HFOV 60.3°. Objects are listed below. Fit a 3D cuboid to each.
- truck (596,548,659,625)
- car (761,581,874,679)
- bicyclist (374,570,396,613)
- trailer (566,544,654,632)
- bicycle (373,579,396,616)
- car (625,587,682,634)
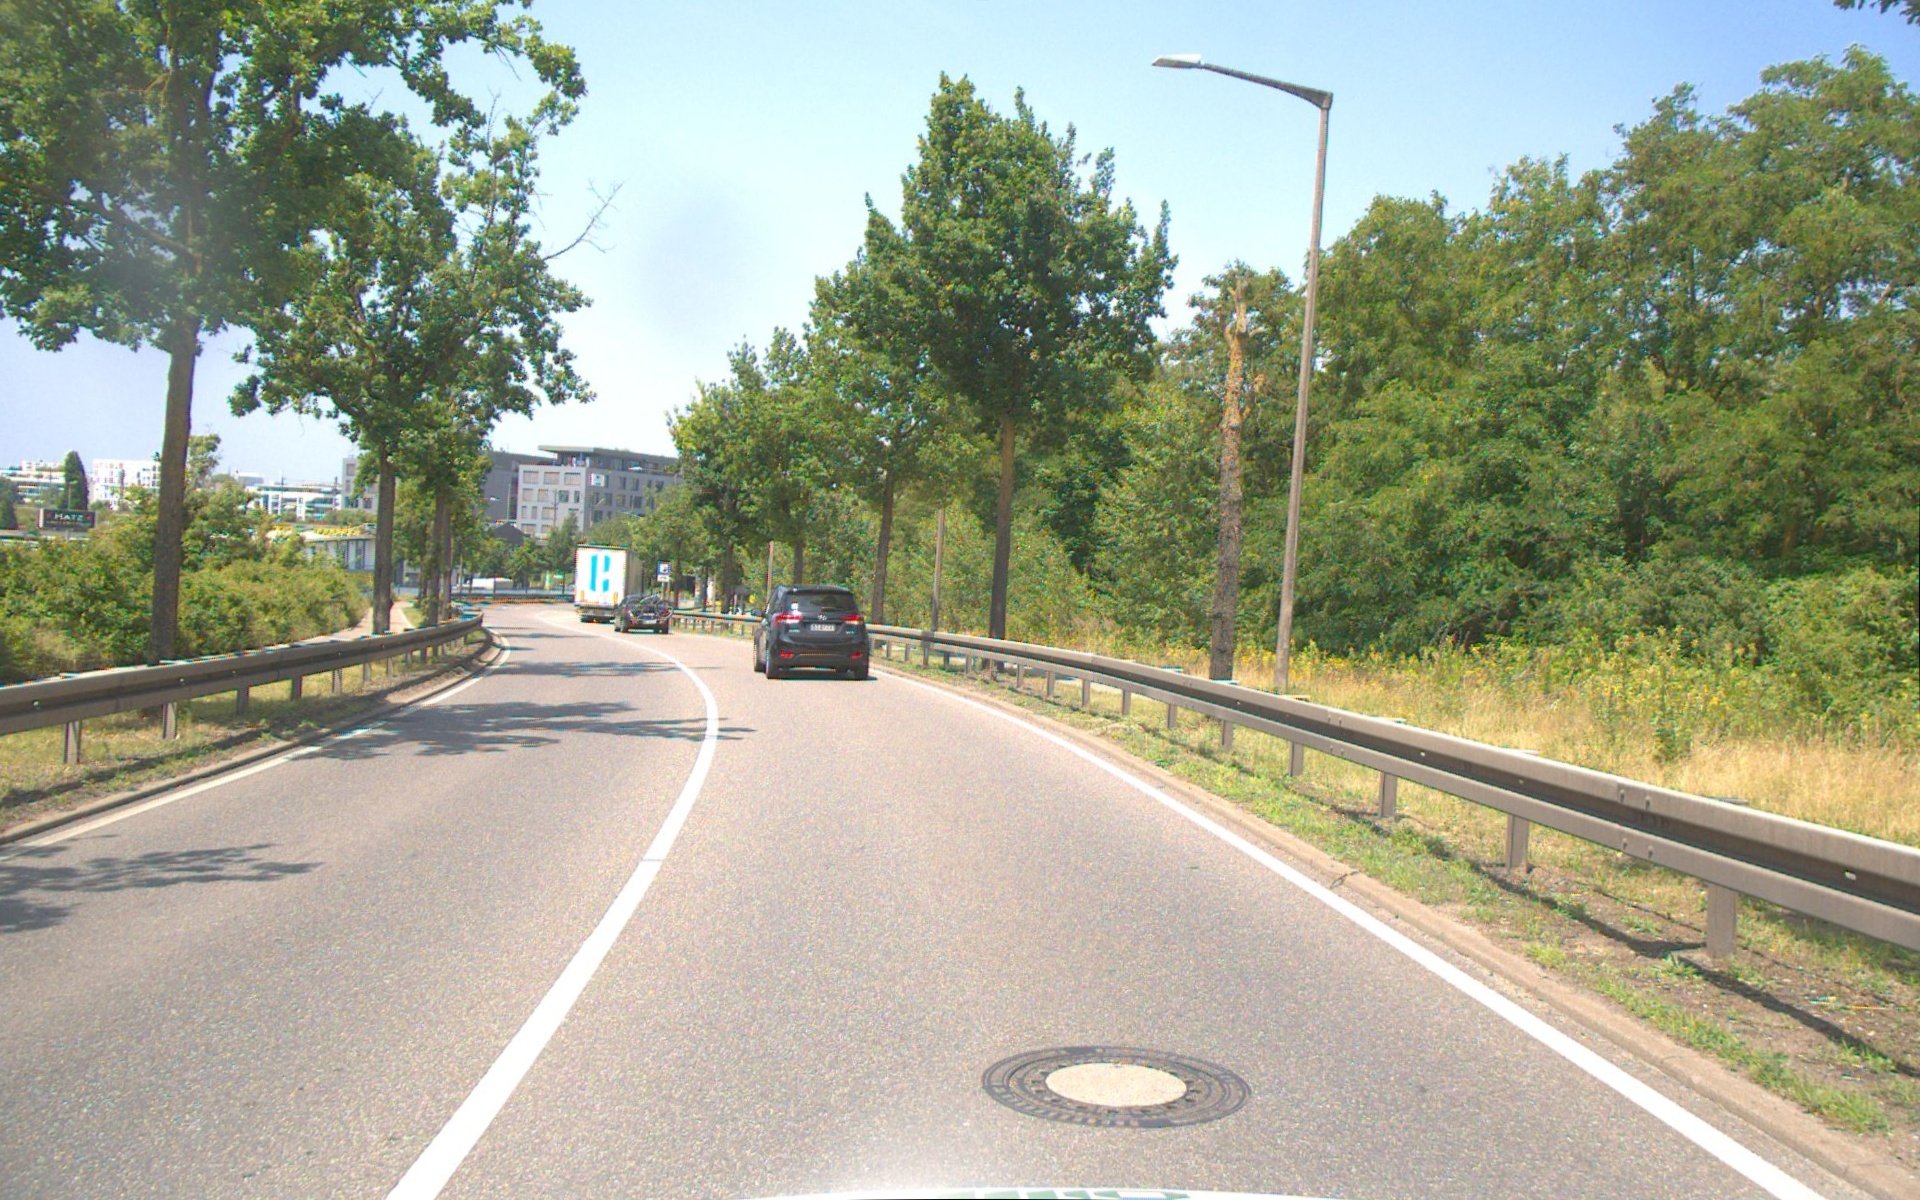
[{"bbox_3d":[-20.347,-0.878,101.542,3.017,4.444,6.072,3,1,-6],"label":"truck"},{"bbox_3d":[-2.601,0.482,29.445,1.734,1.627,4.069,0,0,-9],"label":"car"},{"bbox_3d":[-21.086,-0.308,60.643,0.731,1.515,0.752,2,-1,-21],"label":"bicyclist"},{"bbox_3d":[-19.607,-0.746,93.504,3.019,4.444,14.758,3,1,-6],"label":"trailer"},{"bbox_3d":[-21.079,-0.081,60.583,0.723,1.304,2.034,2,0,-20],"label":"bicycle"},{"bbox_3d":[-11.583,0.386,62.338,1.922,1.662,4.267,2,-1,-12],"label":"car"}]
